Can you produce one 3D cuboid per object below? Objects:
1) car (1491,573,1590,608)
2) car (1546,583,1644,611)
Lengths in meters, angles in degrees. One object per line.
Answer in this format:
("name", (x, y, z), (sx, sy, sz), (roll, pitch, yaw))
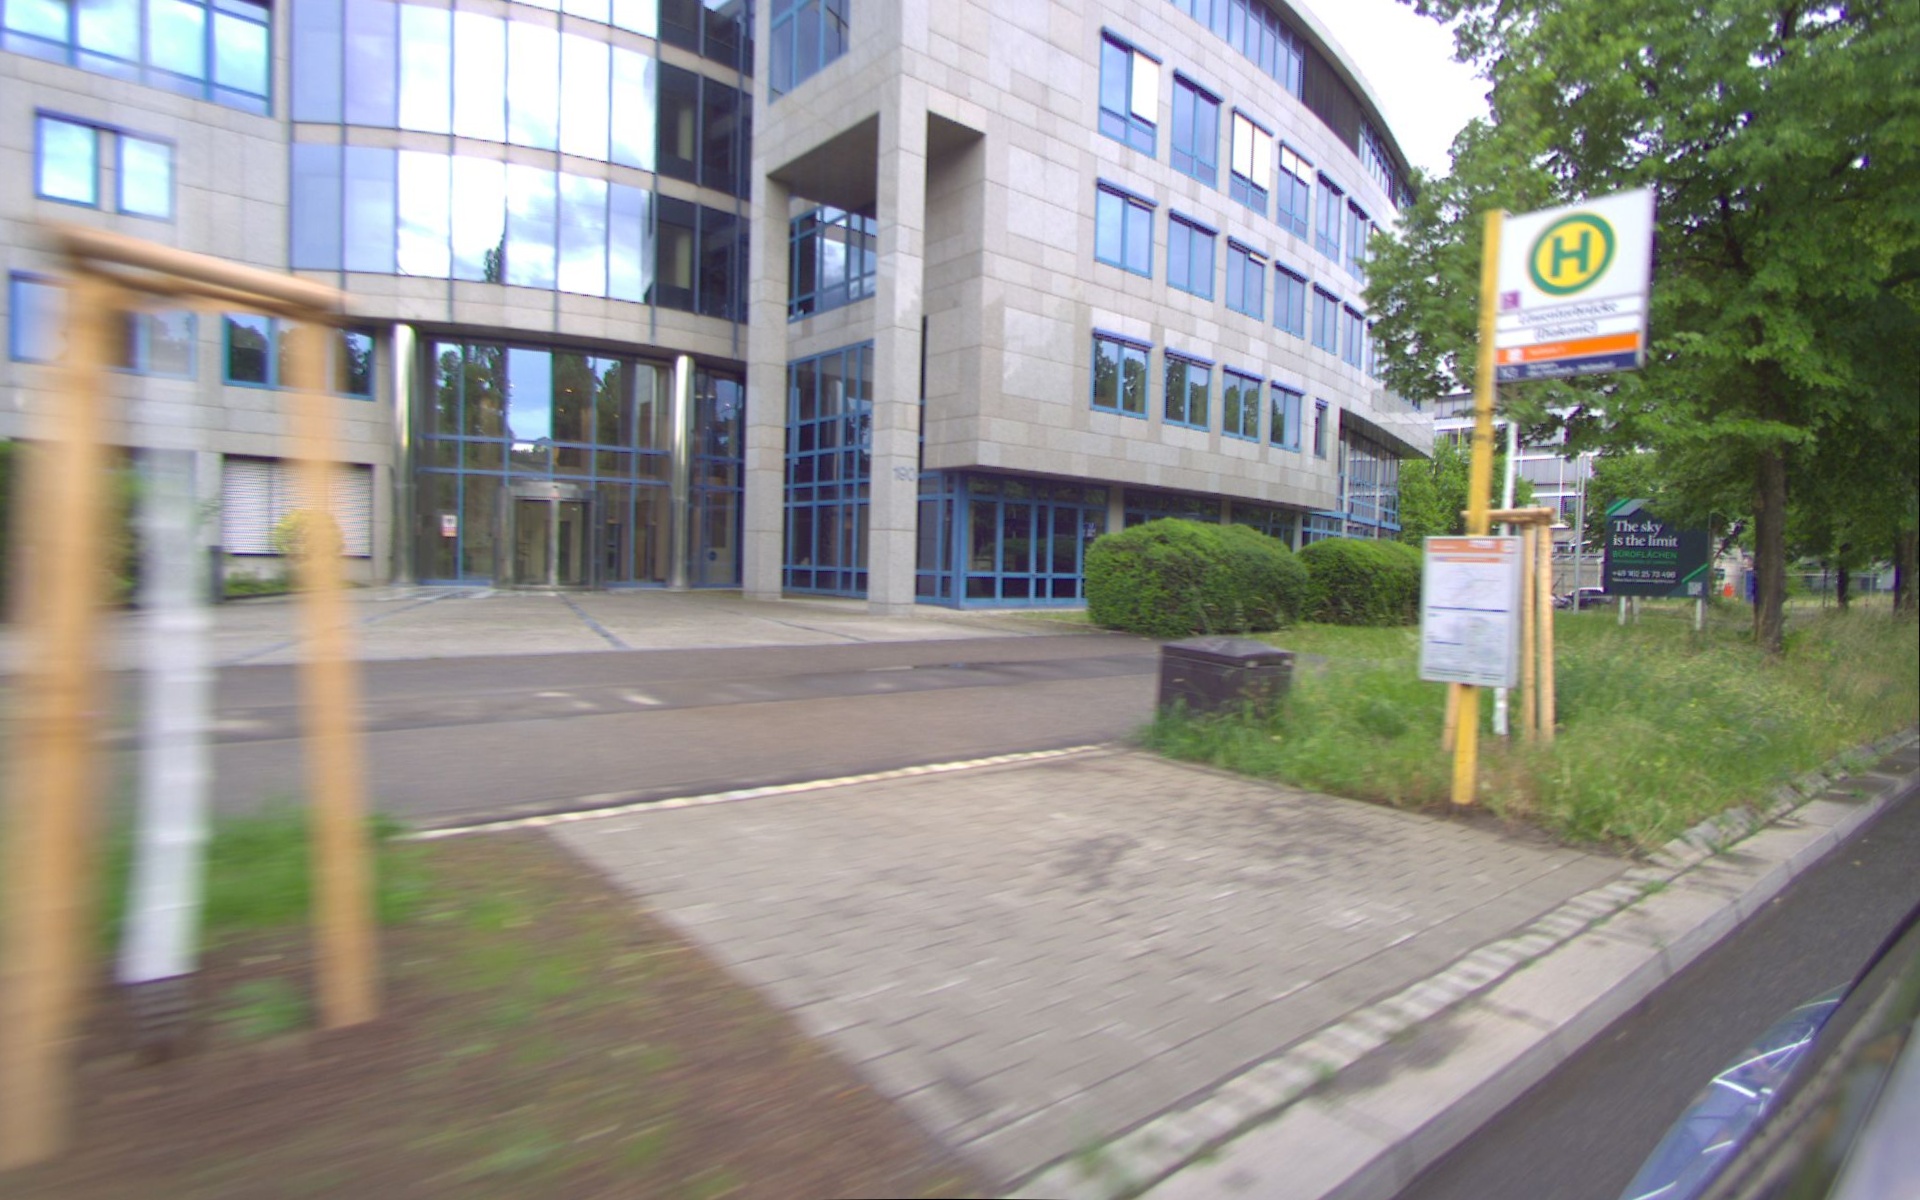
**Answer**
("car", (30.371, -0.519, 53.059), (1.722, 1.662, 4.116), (2, 1, -29))
("car", (35.760, -0.215, 57.091), (1.682, 1.451, 4.422), (-1, 2, -41))
